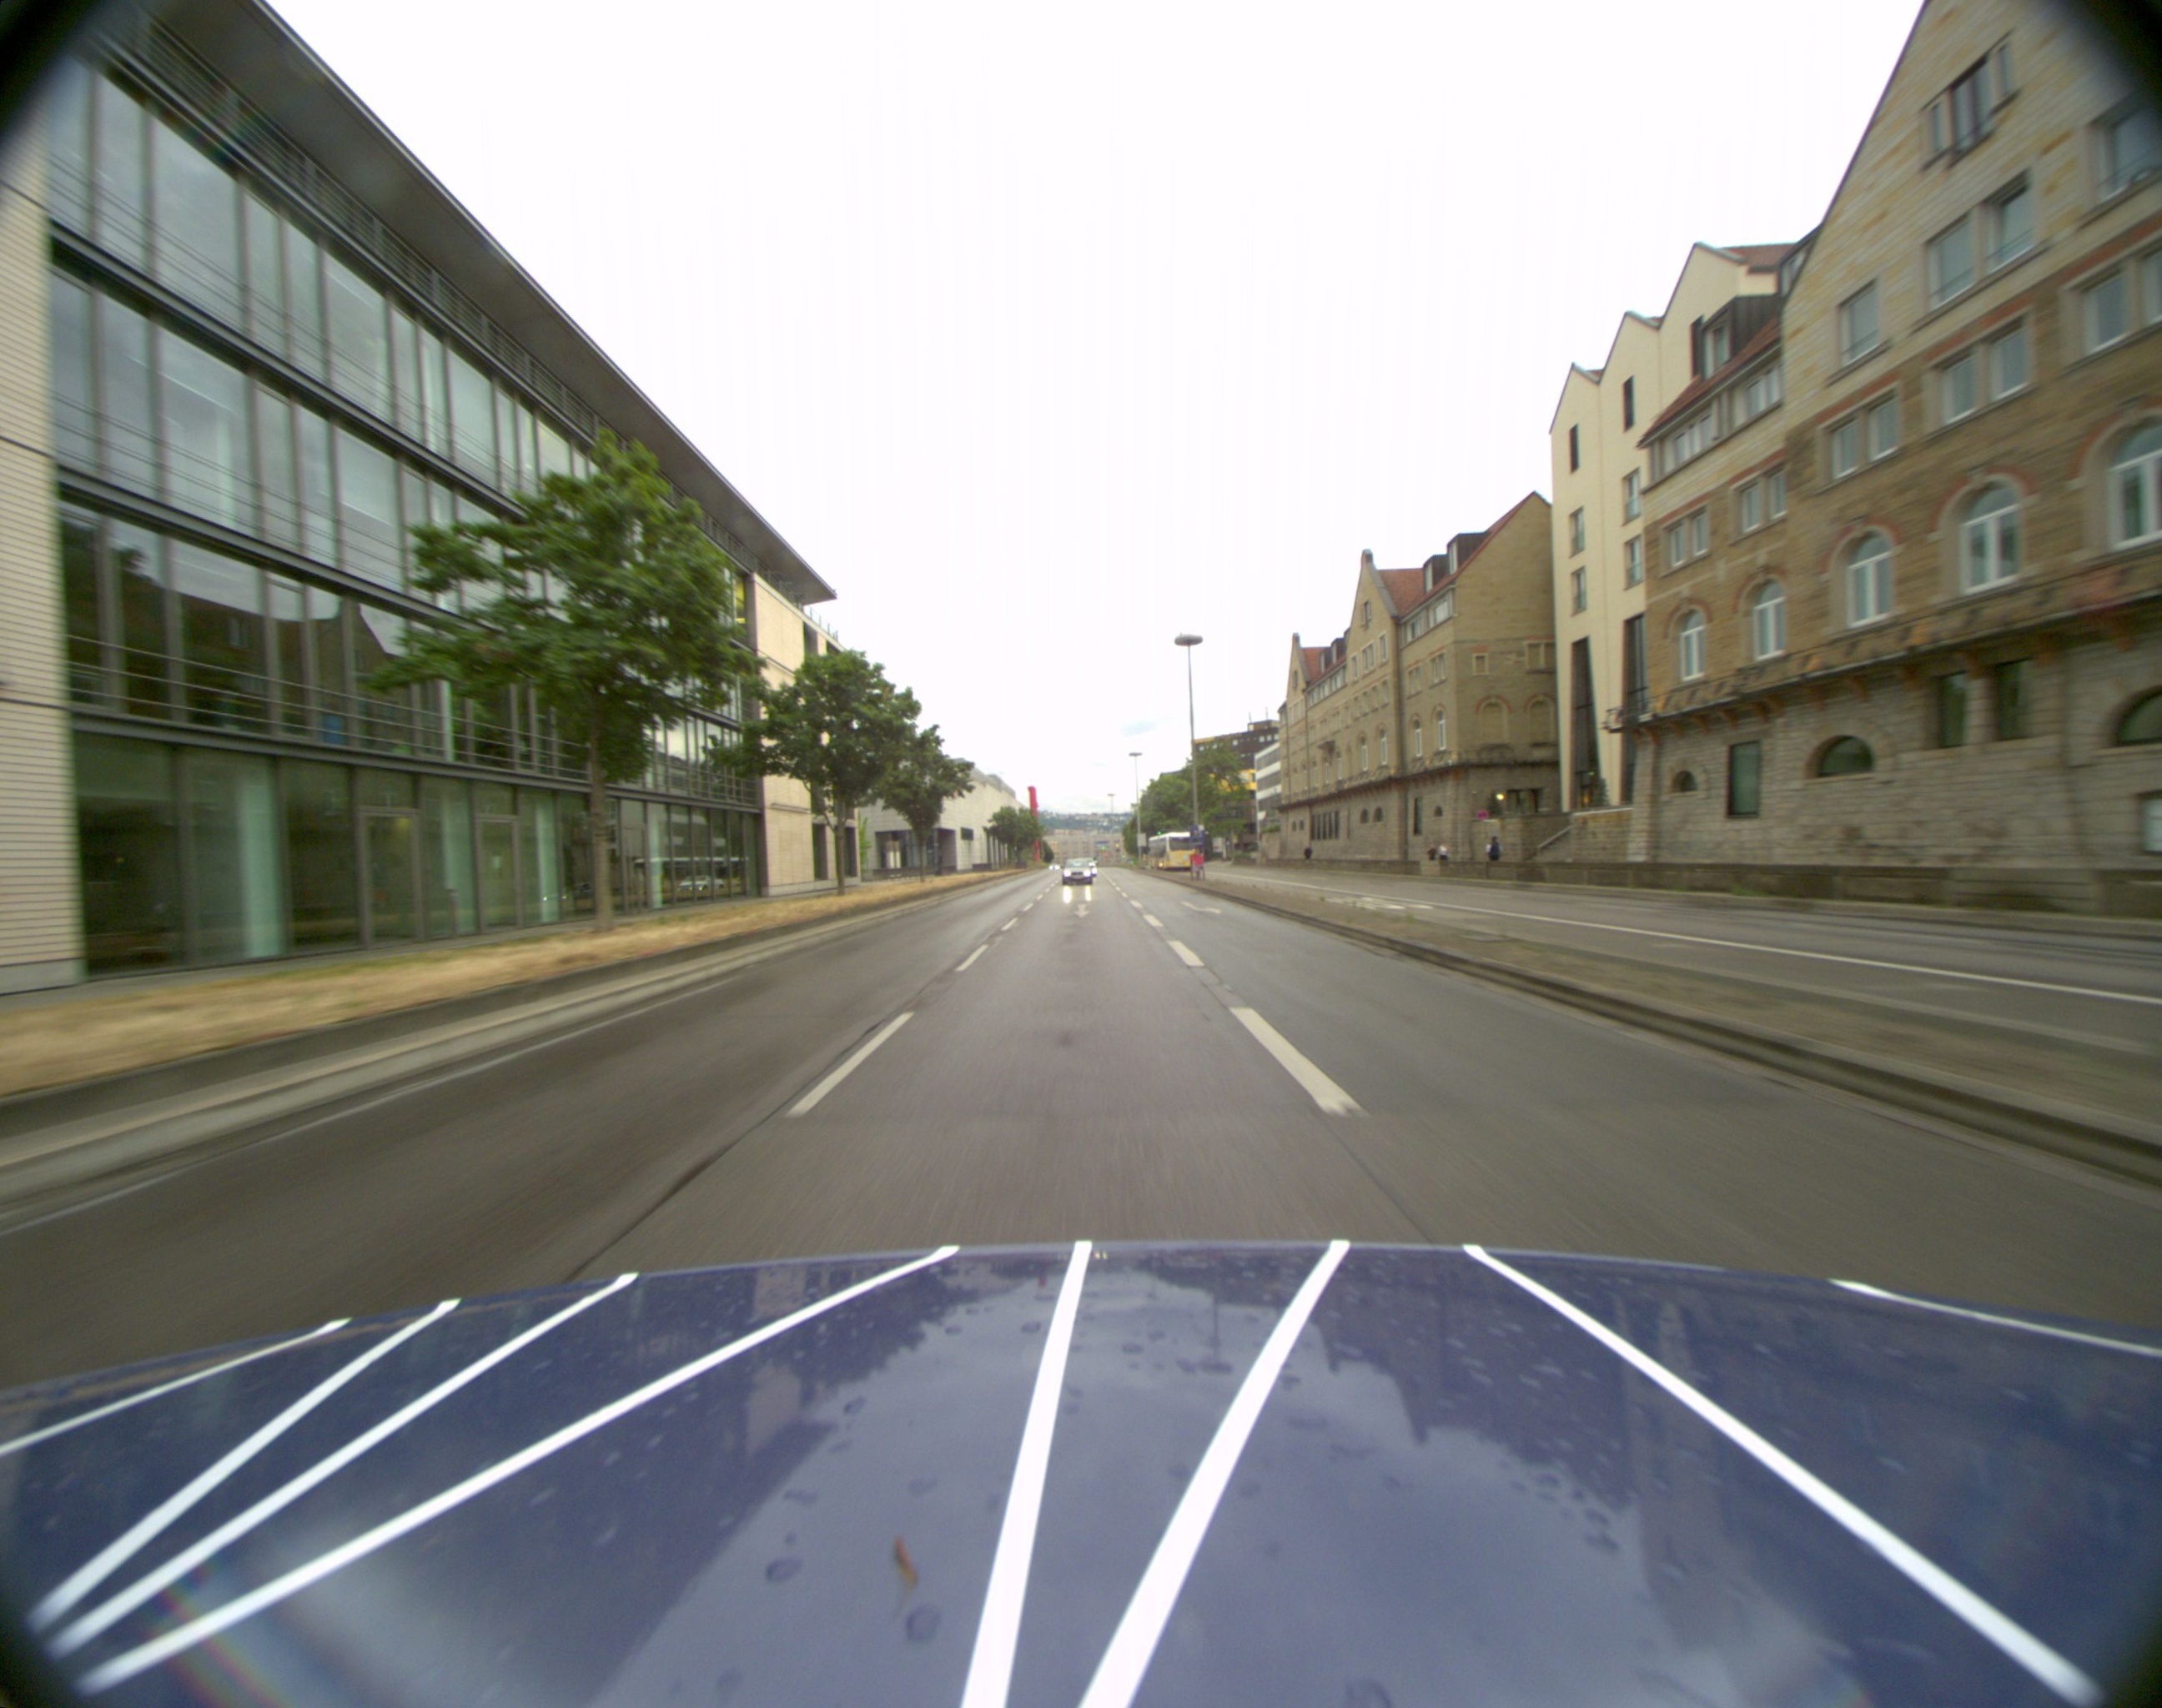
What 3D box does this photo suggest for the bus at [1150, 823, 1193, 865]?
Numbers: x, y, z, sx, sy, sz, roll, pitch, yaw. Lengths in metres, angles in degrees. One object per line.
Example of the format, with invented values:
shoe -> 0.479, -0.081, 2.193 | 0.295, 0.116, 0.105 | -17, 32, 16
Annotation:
bus -> 8.280, -0.786, 70.673 | 2.705, 3.538, 10.094 | -1, -1, 0

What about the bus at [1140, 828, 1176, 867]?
bus -> 8.041, -0.550, 80.786 | 2.705, 3.537, 10.097 | -1, -2, 0

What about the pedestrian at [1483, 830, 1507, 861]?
pedestrian -> 20.398, -0.413, 37.454 | 0.756, 1.469, 0.714 | -1, -1, 0

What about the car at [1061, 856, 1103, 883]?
car -> 0.112, 0.855, 43.728 | 1.862, 1.428, 4.207 | -2, 0, 7

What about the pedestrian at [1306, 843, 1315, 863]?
pedestrian -> 20.297, -0.088, 67.082 | 0.641, 1.735, 0.622 | -1, -1, 25

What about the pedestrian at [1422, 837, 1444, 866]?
pedestrian -> 18.596, -0.130, 40.155 | 0.756, 1.469, 0.714 | -1, -1, 0

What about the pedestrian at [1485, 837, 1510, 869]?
pedestrian -> 19.403, -0.044, 35.406 | 0.756, 1.469, 0.714 | -1, -1, 0

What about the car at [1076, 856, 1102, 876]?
car -> 0.591, 0.894, 59.993 | 1.863, 1.449, 4.204 | -2, 0, -1

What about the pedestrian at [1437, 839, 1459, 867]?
pedestrian -> 19.388, -0.059, 40.144 | 0.756, 1.469, 0.714 | -1, -1, 0
